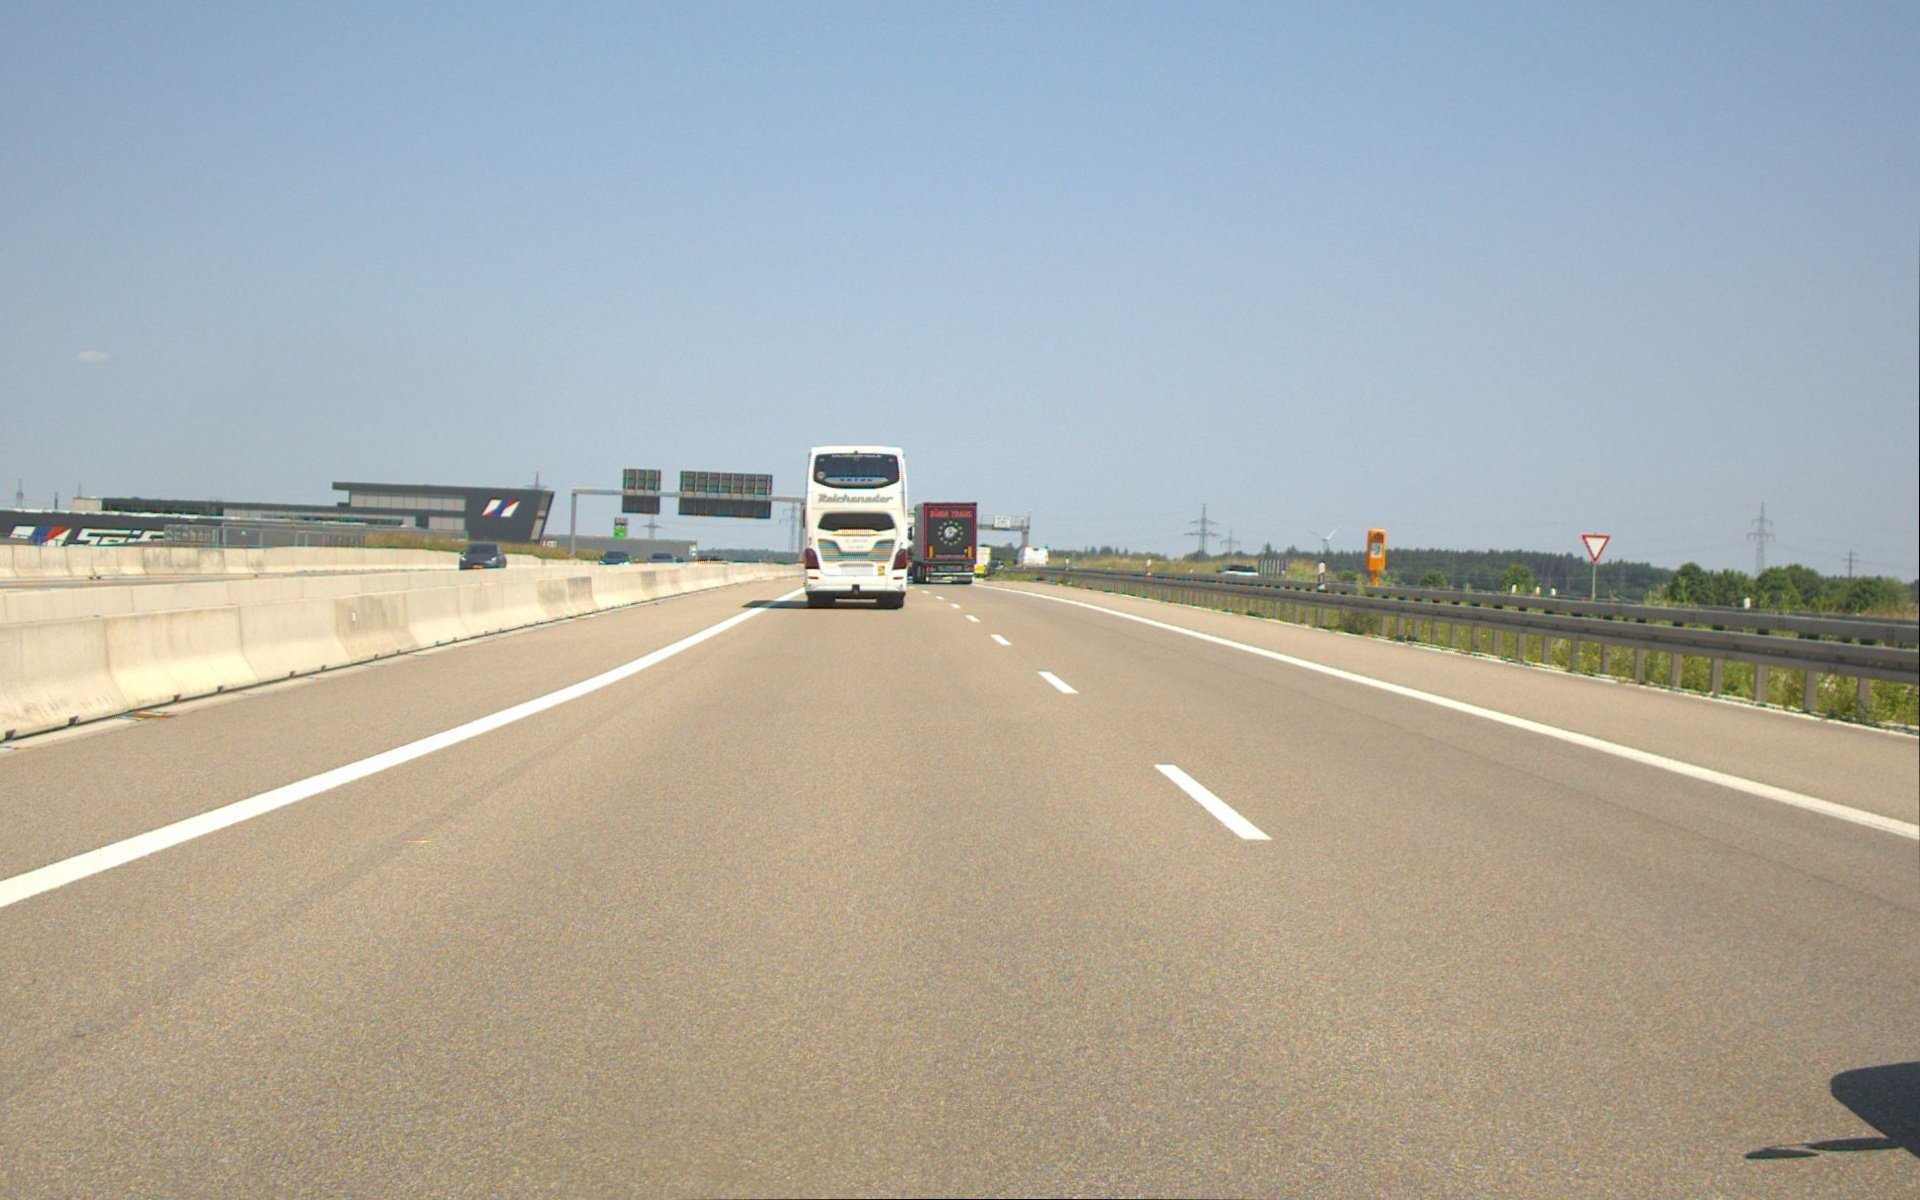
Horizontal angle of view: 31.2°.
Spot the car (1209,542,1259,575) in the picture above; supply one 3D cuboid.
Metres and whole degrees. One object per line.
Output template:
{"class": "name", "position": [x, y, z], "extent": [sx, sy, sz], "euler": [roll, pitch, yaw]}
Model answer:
{"class": "car", "position": [13.304, -2.009, 166.894], "extent": [1.891, 1.524, 4.262], "euler": [1, 1, -2]}

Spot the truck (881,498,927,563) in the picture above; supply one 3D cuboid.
{"class": "truck", "position": [-3.344, -4.148, 204.521], "extent": [2.437, 3.776, 6.494], "euler": [1, 1, -3]}

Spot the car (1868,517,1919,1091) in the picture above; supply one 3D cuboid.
{"class": "car", "position": [3.704, 0.631, 7.764], "extent": [1.880, 1.617, 4.904], "euler": [1, 1, -1]}

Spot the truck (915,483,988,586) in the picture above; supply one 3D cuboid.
{"class": "truck", "position": [-0.404, -3.167, 172.664], "extent": [3.379, 4.449, 13.566], "euler": [2, -2, 0]}

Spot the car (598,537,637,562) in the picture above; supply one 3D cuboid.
{"class": "car", "position": [-20.277, -2.998, 203.765], "extent": [1.912, 1.415, 4.909], "euler": [1, 1, -1]}

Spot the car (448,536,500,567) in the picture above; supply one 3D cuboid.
{"class": "car", "position": [-23.304, -2.326, 164.881], "extent": [1.911, 1.415, 4.550], "euler": [1, 1, -1]}

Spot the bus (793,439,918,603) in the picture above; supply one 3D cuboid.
{"class": "bus", "position": [-2.742, -2.013, 88.673], "extent": [2.980, 3.961, 9.106], "euler": [1, 1, -2]}
